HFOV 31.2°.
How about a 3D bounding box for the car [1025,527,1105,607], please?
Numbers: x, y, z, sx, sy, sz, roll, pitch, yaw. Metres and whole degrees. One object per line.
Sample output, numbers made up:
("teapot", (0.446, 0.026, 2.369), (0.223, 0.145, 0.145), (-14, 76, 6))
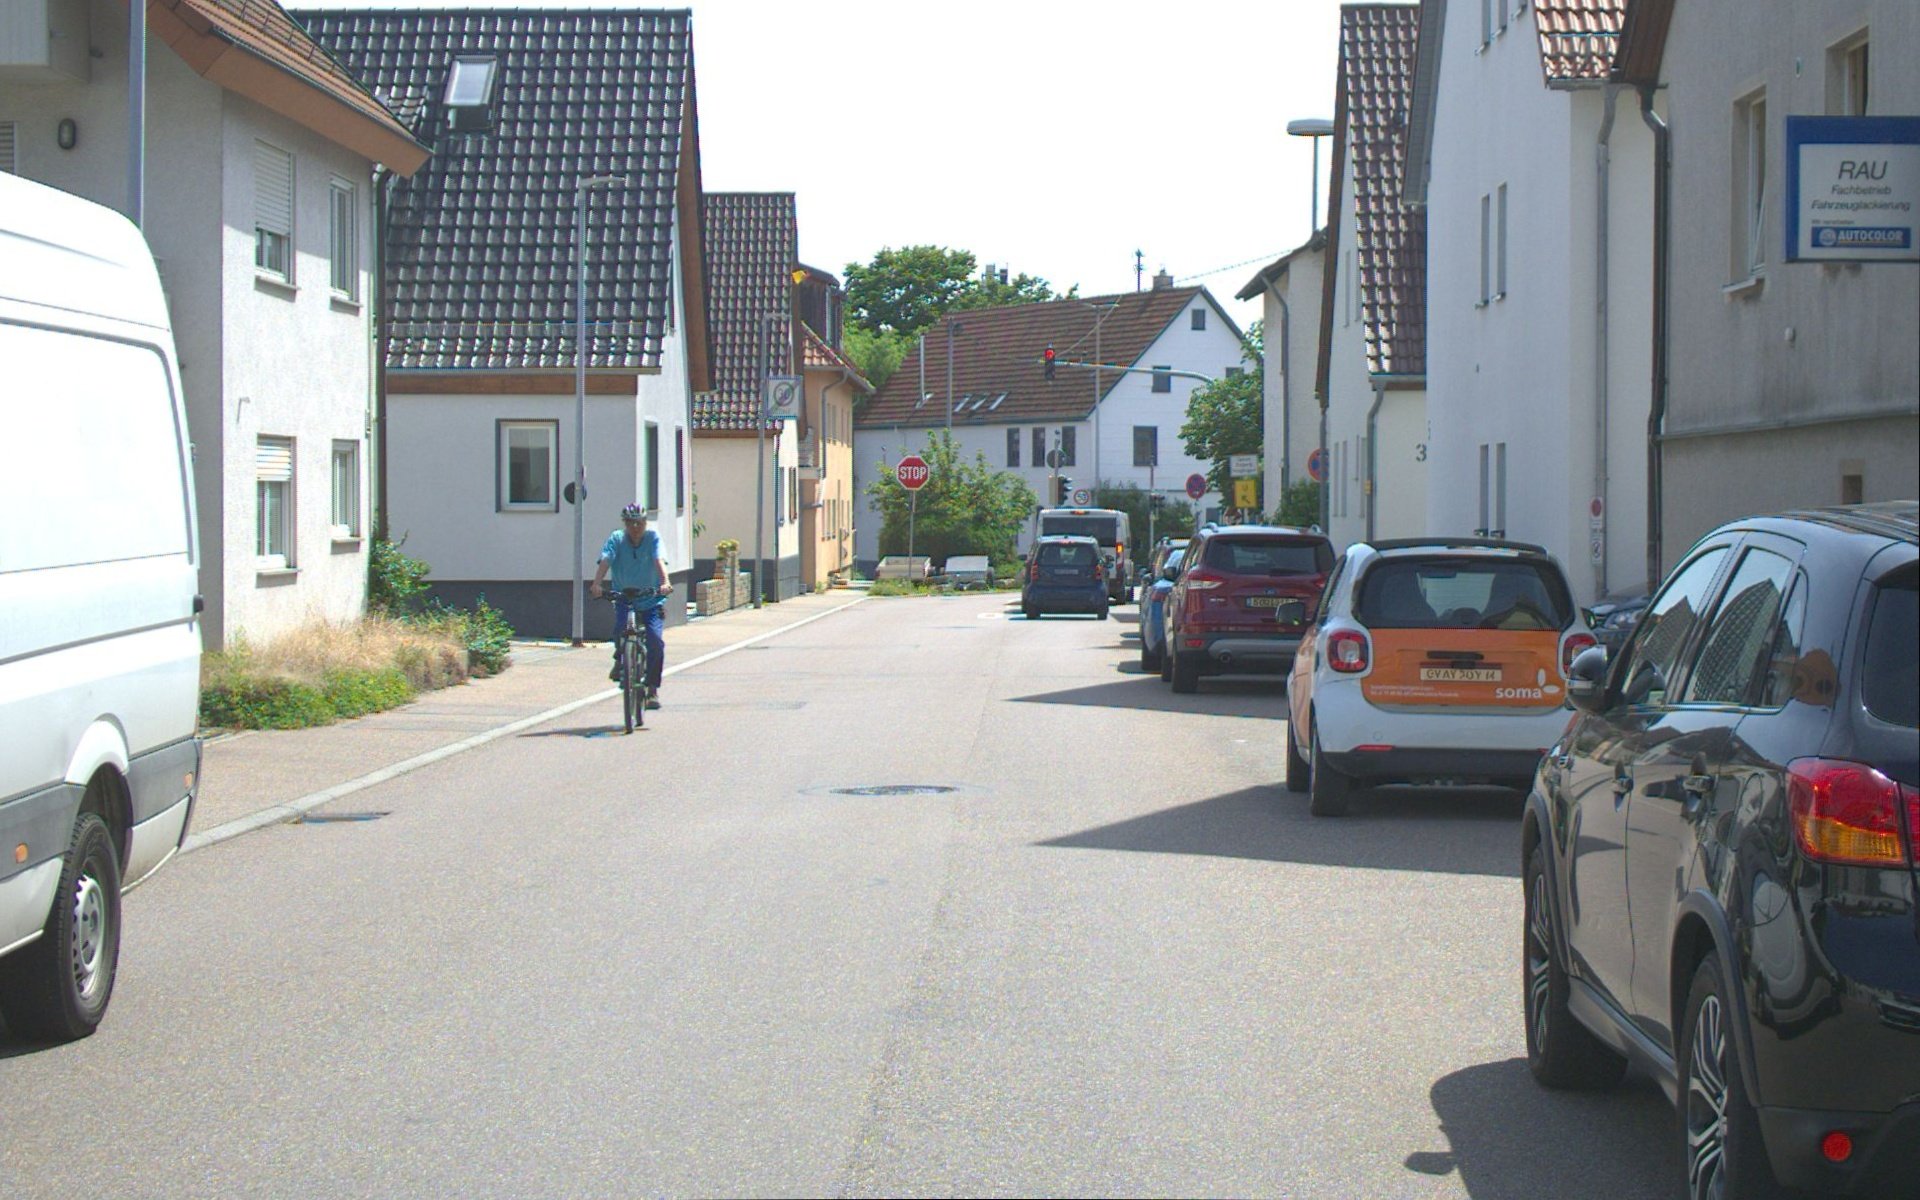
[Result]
("car", (2.211, -0.702, 71.648), (1.516, 1.619, 3.184), (0, 1, 5))

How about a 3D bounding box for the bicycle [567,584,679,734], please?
("bicycle", (-2.713, 0.453, 27.850), (0.670, 1.128, 2.189), (1, 1, 0))

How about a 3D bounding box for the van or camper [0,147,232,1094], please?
("van or camper", (-3.695, 0.059, 8.542), (2.184, 2.563, 6.807), (1, 1, 1))

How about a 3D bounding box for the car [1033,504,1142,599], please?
("car", (3.016, -1.156, 80.443), (2.129, 2.151, 4.735), (0, 1, 7))

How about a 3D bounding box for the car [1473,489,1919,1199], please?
("car", (2.358, 0.575, 8.183), (1.728, 1.594, 4.253), (1, 1, 2))

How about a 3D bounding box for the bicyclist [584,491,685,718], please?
("bicyclist", (-2.620, 0.024, 27.760), (0.713, 1.792, 0.942), (1, 1, -1))

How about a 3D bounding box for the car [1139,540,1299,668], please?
("car", (3.059, 0.008, 41.330), (1.763, 1.419, 4.592), (1, 1, 3))

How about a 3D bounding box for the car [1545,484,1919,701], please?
("car", (7.713, -0.072, 30.876), (4.515, 1.836, 2.000), (1, 1, -1))

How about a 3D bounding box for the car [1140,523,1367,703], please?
("car", (2.935, 0.081, 35.194), (1.875, 1.694, 4.183), (1, 1, -1))

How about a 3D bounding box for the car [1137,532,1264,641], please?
("car", (3.550, -0.228, 51.132), (1.567, 1.540, 3.450), (1, 1, -1))

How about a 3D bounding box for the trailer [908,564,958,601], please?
("trailer", (-0.746, -0.489, 94.489), (1.311, 0.967, 0.933), (-1, 1, 3))

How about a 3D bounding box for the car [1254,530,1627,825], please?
("car", (2.714, 0.386, 20.016), (1.673, 1.553, 3.040), (1, 1, -1))

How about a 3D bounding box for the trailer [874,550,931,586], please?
("trailer", (-1.607, -0.892, 96.240), (1.502, 0.924, 1.012), (2, 1, 3))

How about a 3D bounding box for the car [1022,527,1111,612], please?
("car", (2.062, -0.604, 66.080), (1.516, 1.561, 3.184), (1, 1, 5))
